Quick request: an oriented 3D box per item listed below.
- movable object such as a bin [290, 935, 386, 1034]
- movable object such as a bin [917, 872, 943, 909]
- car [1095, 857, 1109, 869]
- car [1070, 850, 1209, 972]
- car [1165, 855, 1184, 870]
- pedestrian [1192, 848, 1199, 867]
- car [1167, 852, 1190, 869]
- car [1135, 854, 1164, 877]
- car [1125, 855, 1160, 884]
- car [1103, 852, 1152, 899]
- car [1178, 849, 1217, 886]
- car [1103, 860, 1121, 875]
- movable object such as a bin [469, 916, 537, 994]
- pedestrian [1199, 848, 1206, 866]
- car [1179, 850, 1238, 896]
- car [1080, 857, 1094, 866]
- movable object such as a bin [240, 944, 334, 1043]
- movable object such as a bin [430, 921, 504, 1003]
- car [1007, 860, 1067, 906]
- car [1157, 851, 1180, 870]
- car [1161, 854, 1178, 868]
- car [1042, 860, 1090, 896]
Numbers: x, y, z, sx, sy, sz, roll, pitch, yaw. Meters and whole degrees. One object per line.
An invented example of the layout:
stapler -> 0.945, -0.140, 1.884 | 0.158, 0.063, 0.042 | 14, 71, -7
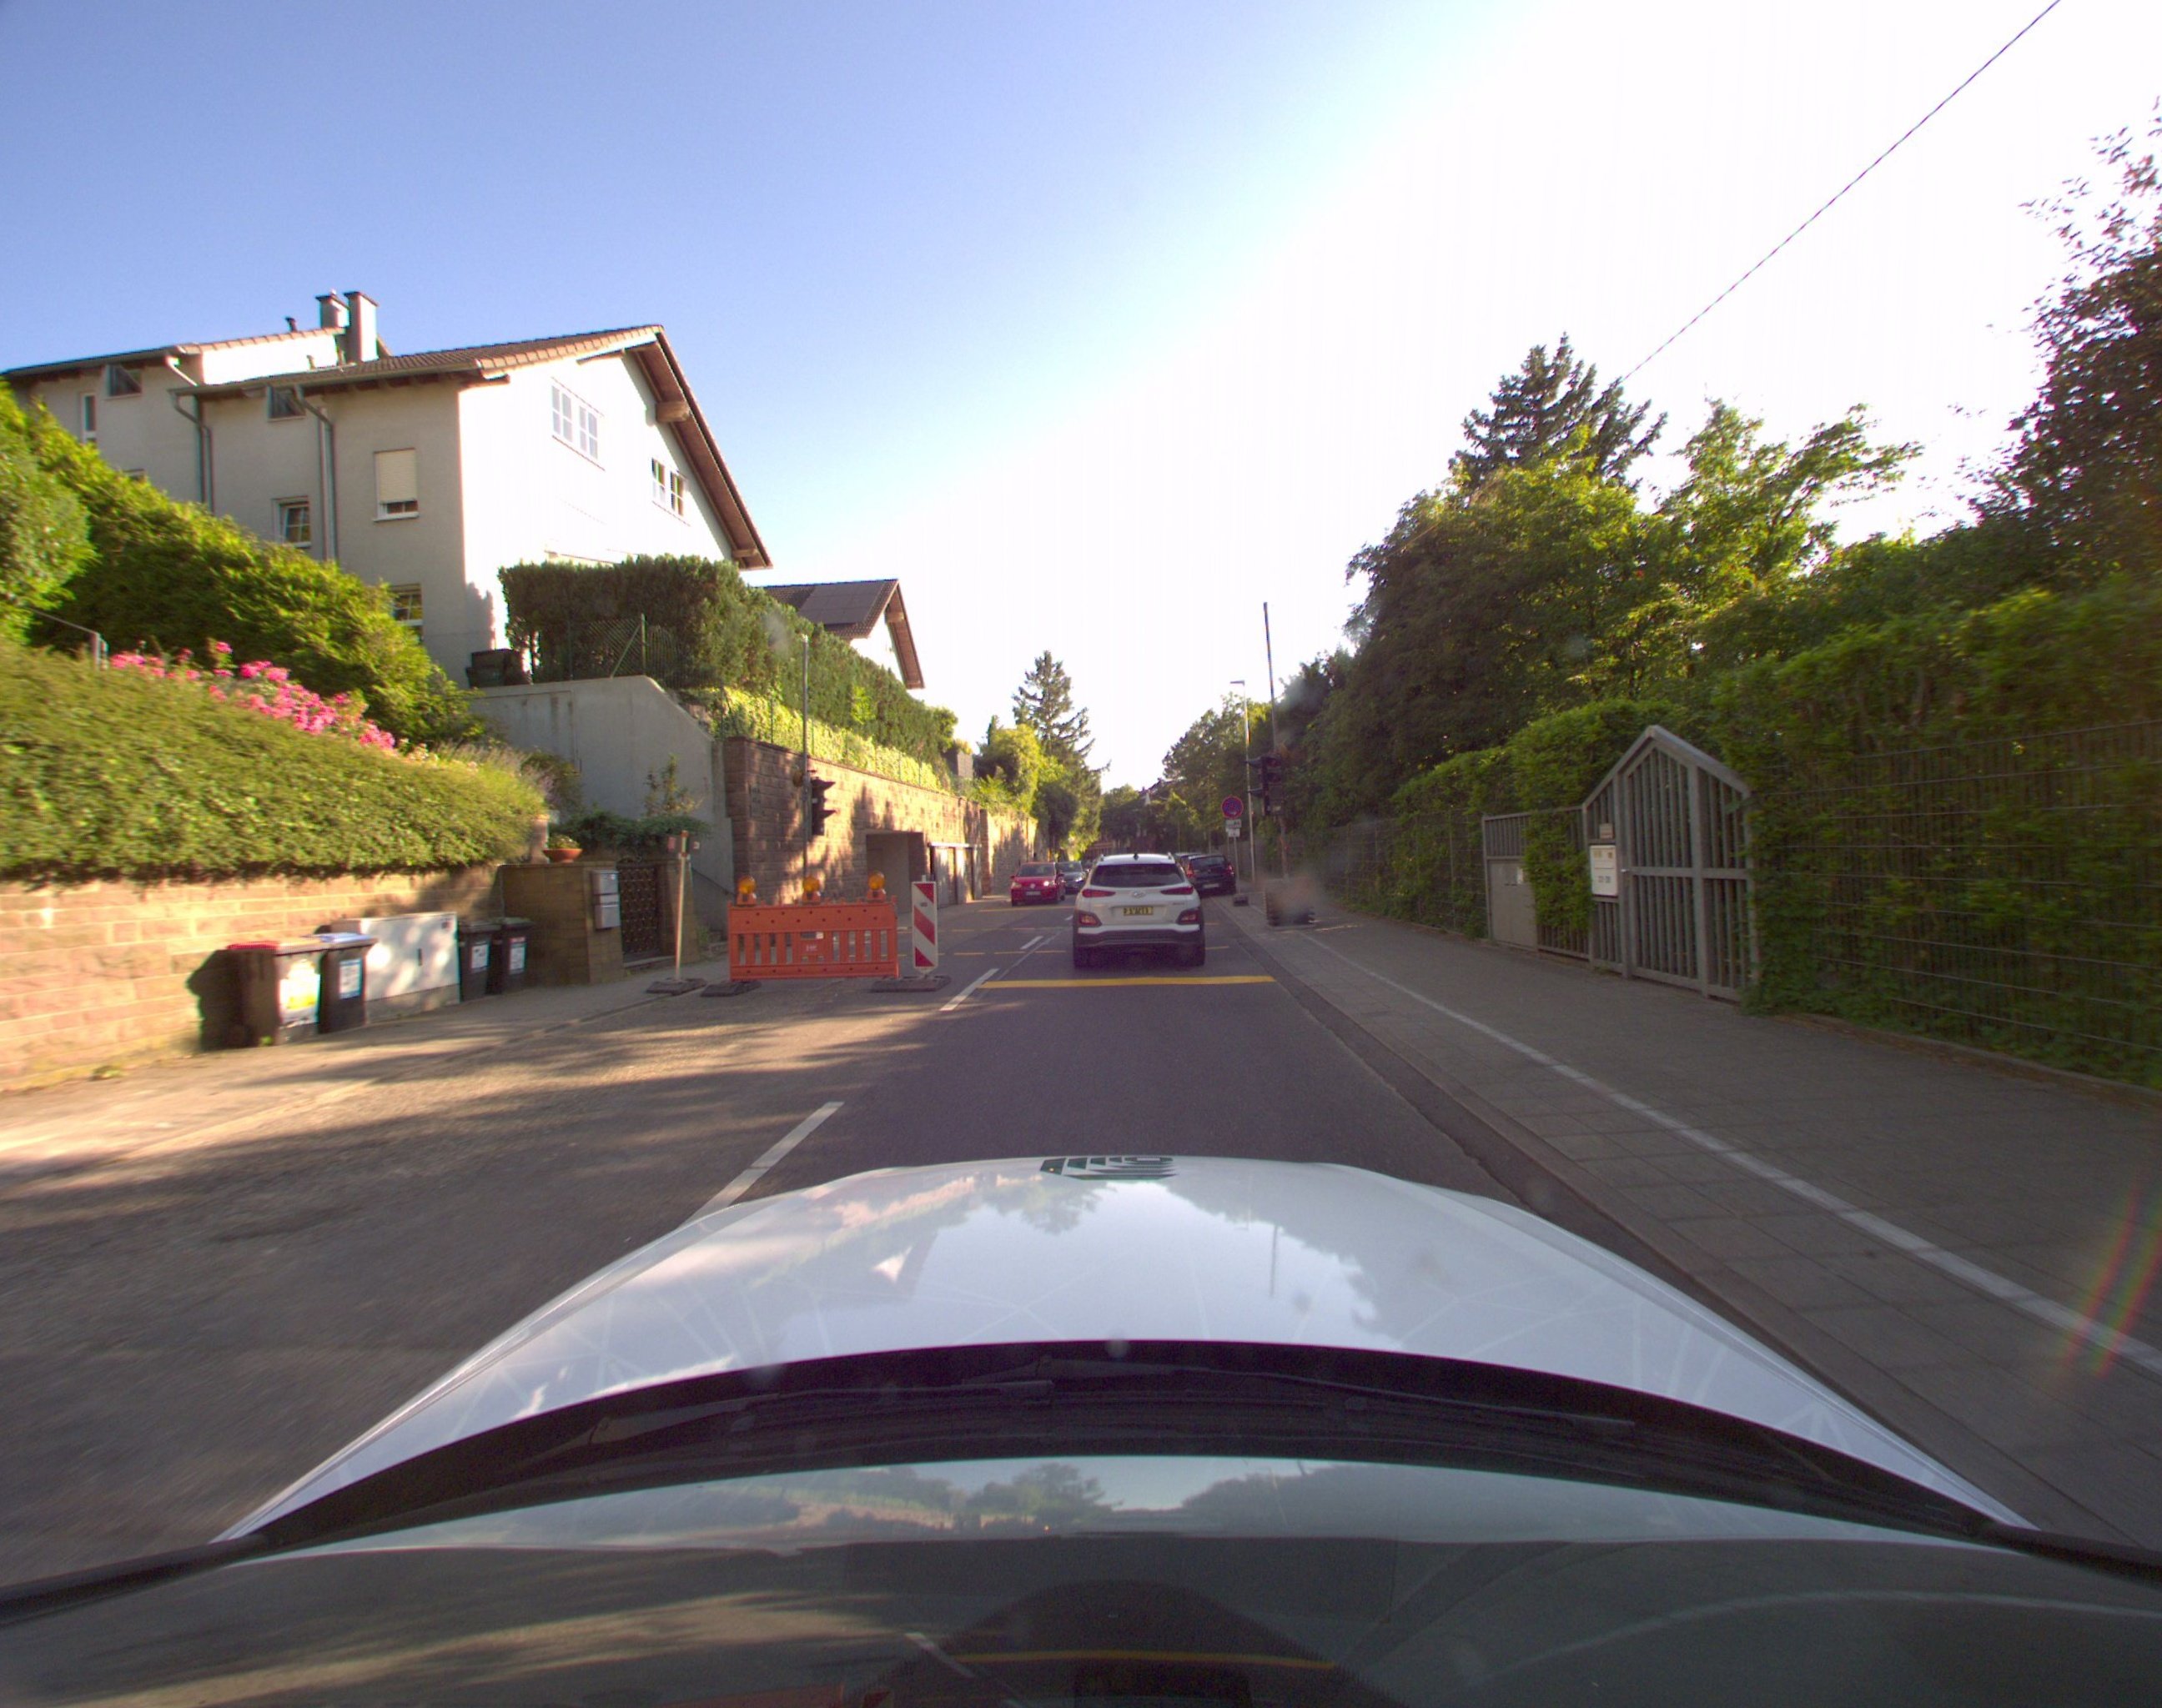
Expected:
movable object such as a bin -> -7.249, 1.264, 7.958 | 0.454, 0.884, 0.501 | -1, 0, 4
movable object such as a bin -> -5.106, 1.223, 27.531 | 0.655, 1.176, 0.666 | -3, -1, 6
car -> 2.912, 1.312, 114.951 | 1.736, 1.474, 3.998 | -6, -1, -1
car -> 0.854, 0.748, 12.580 | 1.765, 1.542, 4.003 | -1, 0, 3
car -> 10.151, 0.932, 88.253 | 1.588, 1.519, 3.933 | -5, -1, 1
pedestrian -> 10.046, 0.289, 71.382 | 0.500, 1.606, 0.492 | -5, -1, 6
car -> 9.988, 0.674, 83.470 | 1.590, 1.565, 3.996 | -4, -1, -2
car -> 4.873, 0.796, 57.826 | 1.683, 1.533, 3.891 | -2, 0, 9
car -> 3.315, 0.798, 43.326 | 1.561, 1.477, 3.556 | -1, 0, 8
car -> 1.738, 0.749, 29.780 | 1.504, 1.533, 3.554 | -3, 0, 7
car -> 5.636, 0.643, 39.467 | 1.644, 1.564, 2.879 | -7, -2, 8
car -> 3.441, 1.492, 89.908 | 1.542, 1.466, 3.574 | -4, -1, 6
movable object such as a bin -> -7.116, 1.235, 10.038 | 0.454, 0.884, 0.501 | -1, 0, 4
pedestrian -> 10.623, 0.280, 71.123 | 0.500, 1.569, 0.504 | -5, -1, 6
car -> 4.480, 0.648, 29.141 | 1.785, 1.441, 4.006 | -3, 0, 5
car -> 1.144, 1.338, 149.507 | 1.757, 1.616, 3.984 | -1, 0, -11
movable object such as a bin -> -7.290, 1.274, 7.488 | 0.452, 0.834, 0.392 | -2, -1, 4
movable object such as a bin -> -7.160, 1.246, 9.513 | 0.454, 0.884, 0.501 | -1, 0, 4
car -> -1.500, 0.979, 28.962 | 1.619, 1.422, 3.566 | -3, -1, 4
car -> 7.894, 0.596, 73.297 | 1.684, 1.447, 3.892 | -5, 0, 9
car -> 10.217, 0.771, 94.223 | 1.588, 1.489, 3.603 | -5, 0, 1
car -> -0.623, 1.014, 36.203 | 1.641, 1.411, 3.936 | -3, -1, 5
